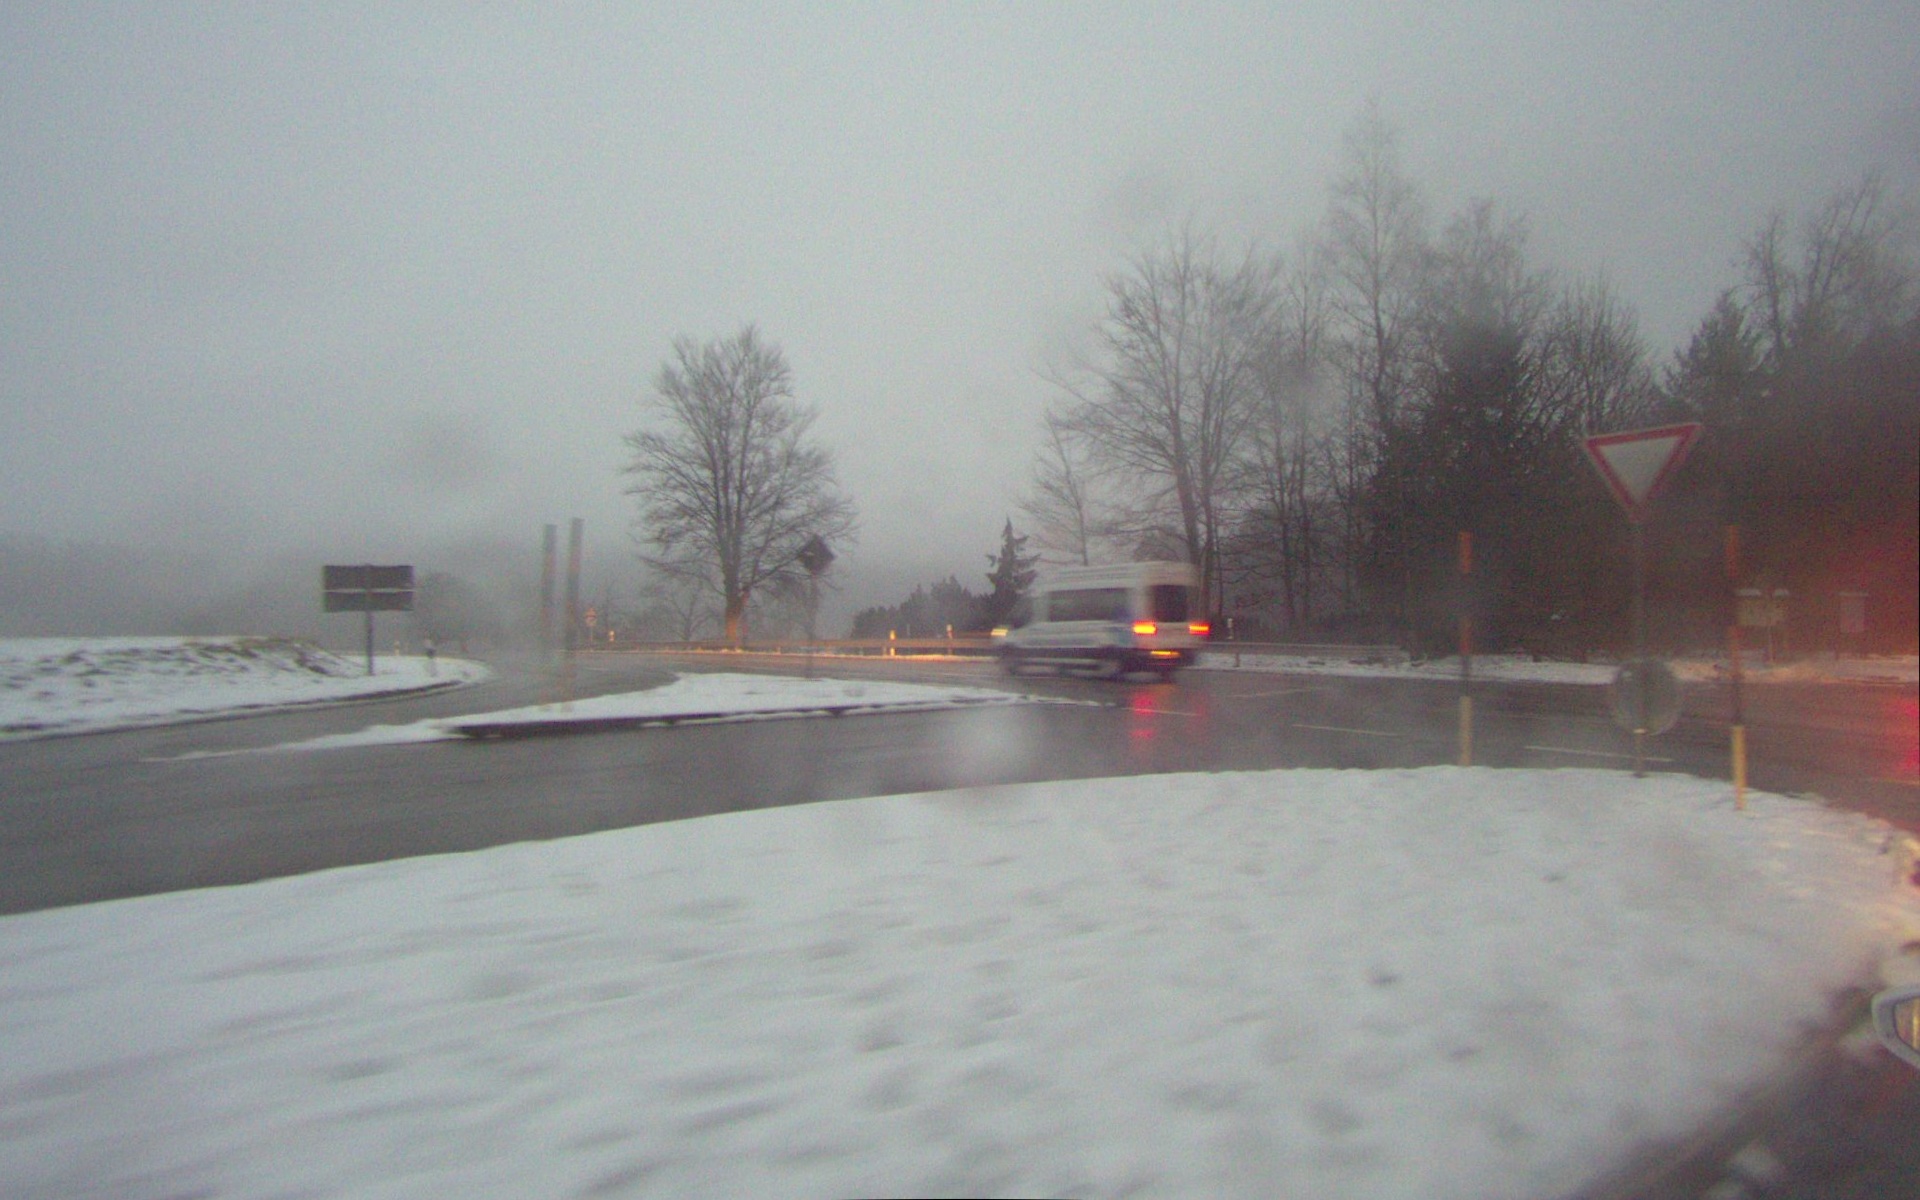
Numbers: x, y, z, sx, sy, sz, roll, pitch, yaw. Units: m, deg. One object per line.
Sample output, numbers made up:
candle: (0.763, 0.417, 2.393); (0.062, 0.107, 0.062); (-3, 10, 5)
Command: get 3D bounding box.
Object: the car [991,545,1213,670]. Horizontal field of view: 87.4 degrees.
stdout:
car: (3.313, 0.150, 24.659); (2.133, 2.731, 5.472); (2, 0, -36)
